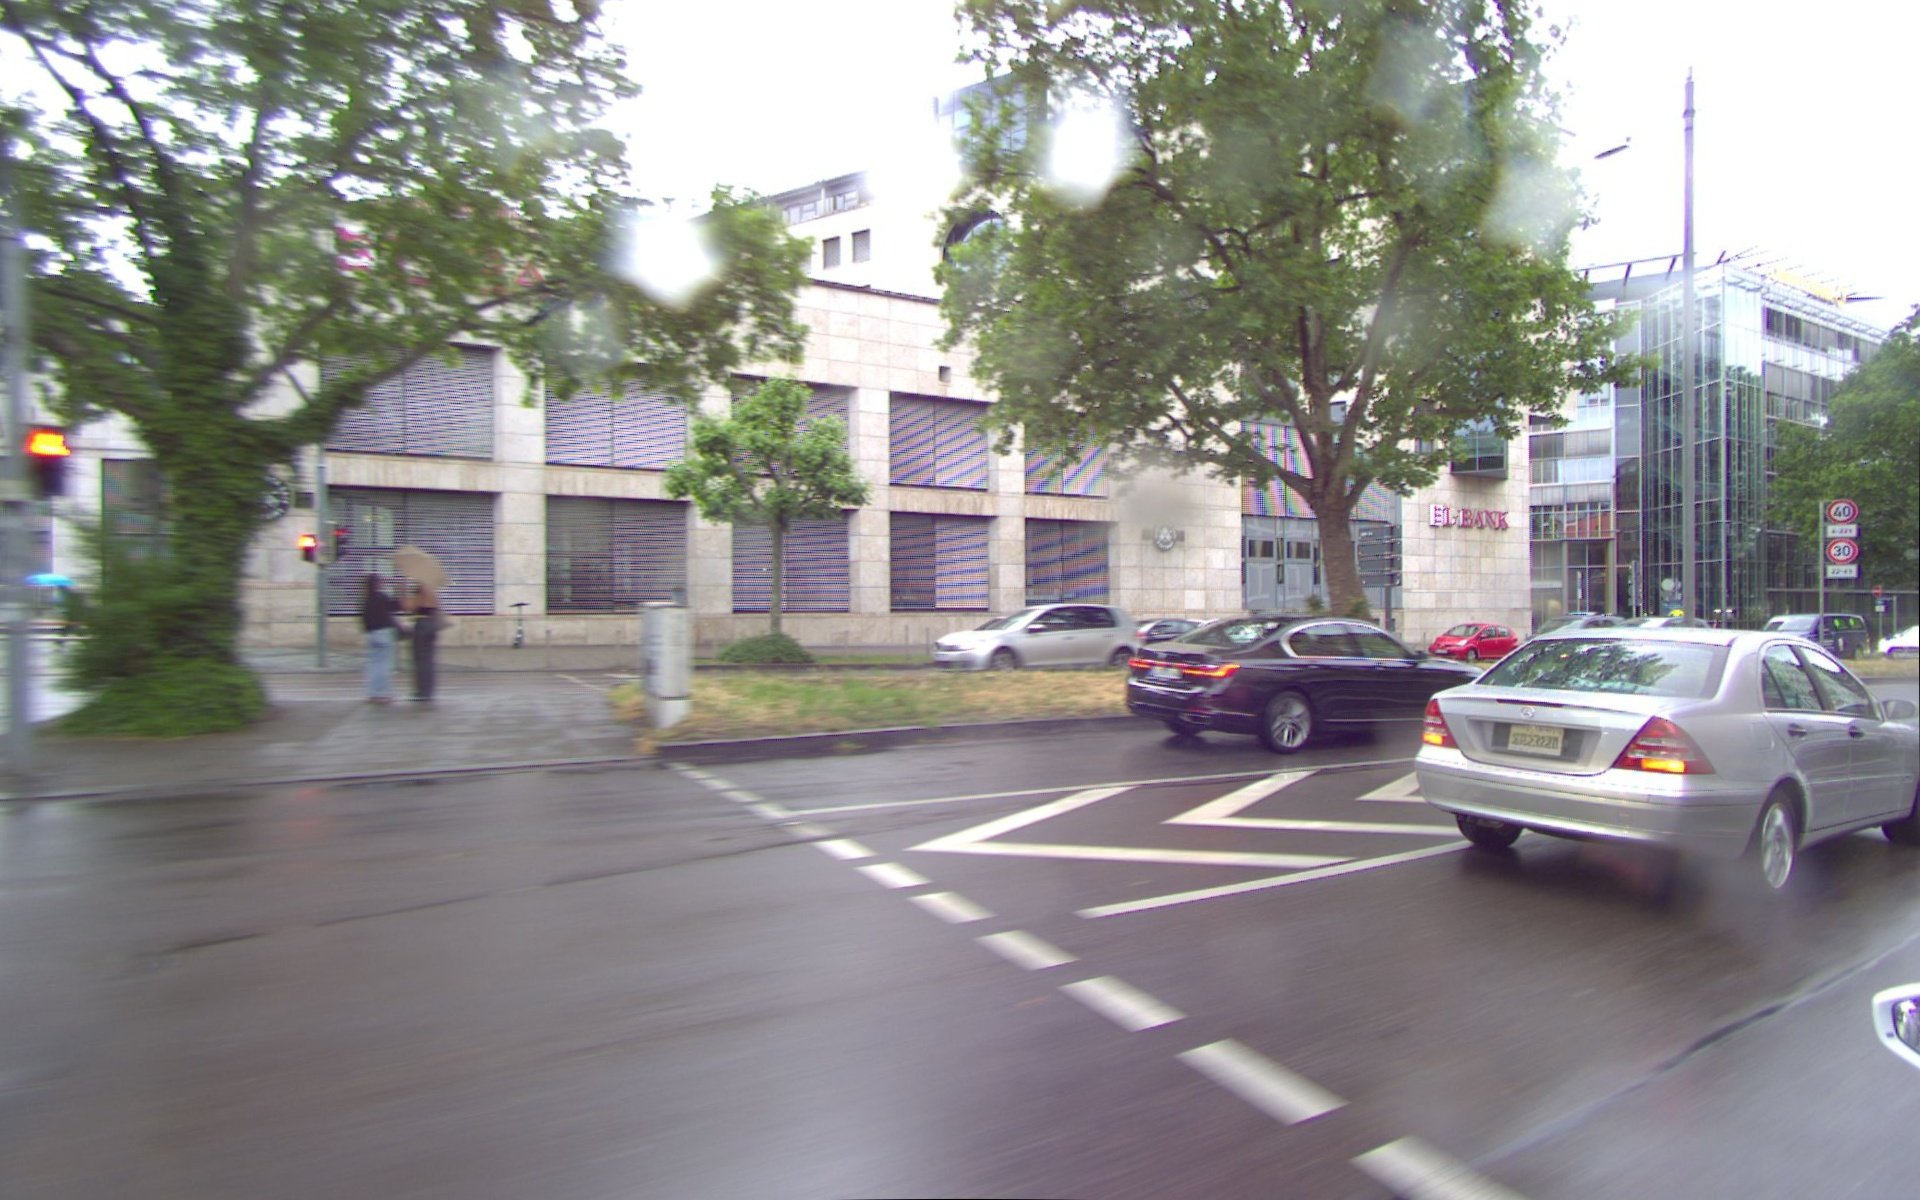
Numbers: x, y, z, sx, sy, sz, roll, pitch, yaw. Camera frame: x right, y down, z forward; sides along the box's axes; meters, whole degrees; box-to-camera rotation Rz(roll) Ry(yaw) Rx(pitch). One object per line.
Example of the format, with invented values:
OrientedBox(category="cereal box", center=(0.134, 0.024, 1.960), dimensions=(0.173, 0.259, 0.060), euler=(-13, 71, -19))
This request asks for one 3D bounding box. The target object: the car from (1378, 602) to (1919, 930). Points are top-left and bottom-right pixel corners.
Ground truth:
OrientedBox(category="car", center=(4.759, 0.787, 6.550), dimensions=(4.315, 1.499, 1.662), euler=(1, 0, -34))

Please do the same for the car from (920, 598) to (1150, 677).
OrientedBox(category="car", center=(1.444, 0.719, 19.214), dimensions=(4.075, 1.382, 1.742), euler=(2, -1, -25))

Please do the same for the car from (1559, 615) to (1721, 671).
OrientedBox(category="car", center=(17.969, 1.132, 26.548), dimensions=(3.888, 1.382, 1.743), euler=(2, -1, -23))

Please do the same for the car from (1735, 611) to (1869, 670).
OrientedBox(category="car", center=(30.772, 1.485, 36.703), dimensions=(5.035, 2.028, 1.825), euler=(2, -1, -25))

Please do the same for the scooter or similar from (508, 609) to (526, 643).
OrientedBox(category="scooter or similar", center=(-13.000, 0.750, 29.440), dimensions=(0.344, 0.931, 1.410), euler=(0, 0, -30))

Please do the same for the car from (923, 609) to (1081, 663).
OrientedBox(category="car", center=(1.219, 1.040, 29.073), dimensions=(4.233, 1.434, 1.743), euler=(2, -1, -23))

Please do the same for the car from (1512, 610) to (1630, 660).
OrientedBox(category="car", center=(21.378, 1.230, 35.130), dimensions=(4.043, 1.661, 1.823), euler=(2, -1, -30))

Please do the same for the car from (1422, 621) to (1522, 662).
OrientedBox(category="car", center=(19.069, 1.546, 37.408), dimensions=(3.354, 1.434, 1.588), euler=(2, -1, -24))

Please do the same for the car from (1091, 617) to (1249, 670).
OrientedBox(category="car", center=(5.947, 1.239, 28.456), dimensions=(4.115, 1.382, 1.743), euler=(2, -1, -23))

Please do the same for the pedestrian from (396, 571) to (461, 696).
OrientedBox(category="pedestrian", center=(-7.186, 0.441, 13.594), dimensions=(0.440, 1.635, 0.640), euler=(1, 1, 31))

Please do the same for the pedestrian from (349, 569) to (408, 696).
OrientedBox(category="pedestrian", center=(-7.684, 0.419, 13.278), dimensions=(0.544, 1.635, 0.425), euler=(1, 1, 22))

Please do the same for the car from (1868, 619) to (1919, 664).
OrientedBox(category="car", center=(33.139, 1.428, 34.182), dimensions=(4.255, 1.461, 1.855), euler=(2, -1, -25))

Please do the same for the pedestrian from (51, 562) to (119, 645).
OrientedBox(category="pedestrian", center=(-21.131, 0.083, 24.277), dimensions=(1.111, 1.950, 0.585), euler=(1, 1, -29))

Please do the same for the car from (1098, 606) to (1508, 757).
OrientedBox(category="car", center=(4.187, 0.849, 12.098), dimensions=(4.815, 1.499, 1.865), euler=(1, 0, -27))

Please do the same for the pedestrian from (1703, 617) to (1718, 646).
OrientedBox(category="pedestrian", center=(42.652, 1.773, 57.099), dimensions=(0.659, 1.591, 0.818), euler=(0, 1, 40))

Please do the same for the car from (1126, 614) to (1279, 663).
OrientedBox(category="car", center=(7.728, 1.219, 31.969), dimensions=(4.640, 1.434, 1.743), euler=(2, -1, -24))
